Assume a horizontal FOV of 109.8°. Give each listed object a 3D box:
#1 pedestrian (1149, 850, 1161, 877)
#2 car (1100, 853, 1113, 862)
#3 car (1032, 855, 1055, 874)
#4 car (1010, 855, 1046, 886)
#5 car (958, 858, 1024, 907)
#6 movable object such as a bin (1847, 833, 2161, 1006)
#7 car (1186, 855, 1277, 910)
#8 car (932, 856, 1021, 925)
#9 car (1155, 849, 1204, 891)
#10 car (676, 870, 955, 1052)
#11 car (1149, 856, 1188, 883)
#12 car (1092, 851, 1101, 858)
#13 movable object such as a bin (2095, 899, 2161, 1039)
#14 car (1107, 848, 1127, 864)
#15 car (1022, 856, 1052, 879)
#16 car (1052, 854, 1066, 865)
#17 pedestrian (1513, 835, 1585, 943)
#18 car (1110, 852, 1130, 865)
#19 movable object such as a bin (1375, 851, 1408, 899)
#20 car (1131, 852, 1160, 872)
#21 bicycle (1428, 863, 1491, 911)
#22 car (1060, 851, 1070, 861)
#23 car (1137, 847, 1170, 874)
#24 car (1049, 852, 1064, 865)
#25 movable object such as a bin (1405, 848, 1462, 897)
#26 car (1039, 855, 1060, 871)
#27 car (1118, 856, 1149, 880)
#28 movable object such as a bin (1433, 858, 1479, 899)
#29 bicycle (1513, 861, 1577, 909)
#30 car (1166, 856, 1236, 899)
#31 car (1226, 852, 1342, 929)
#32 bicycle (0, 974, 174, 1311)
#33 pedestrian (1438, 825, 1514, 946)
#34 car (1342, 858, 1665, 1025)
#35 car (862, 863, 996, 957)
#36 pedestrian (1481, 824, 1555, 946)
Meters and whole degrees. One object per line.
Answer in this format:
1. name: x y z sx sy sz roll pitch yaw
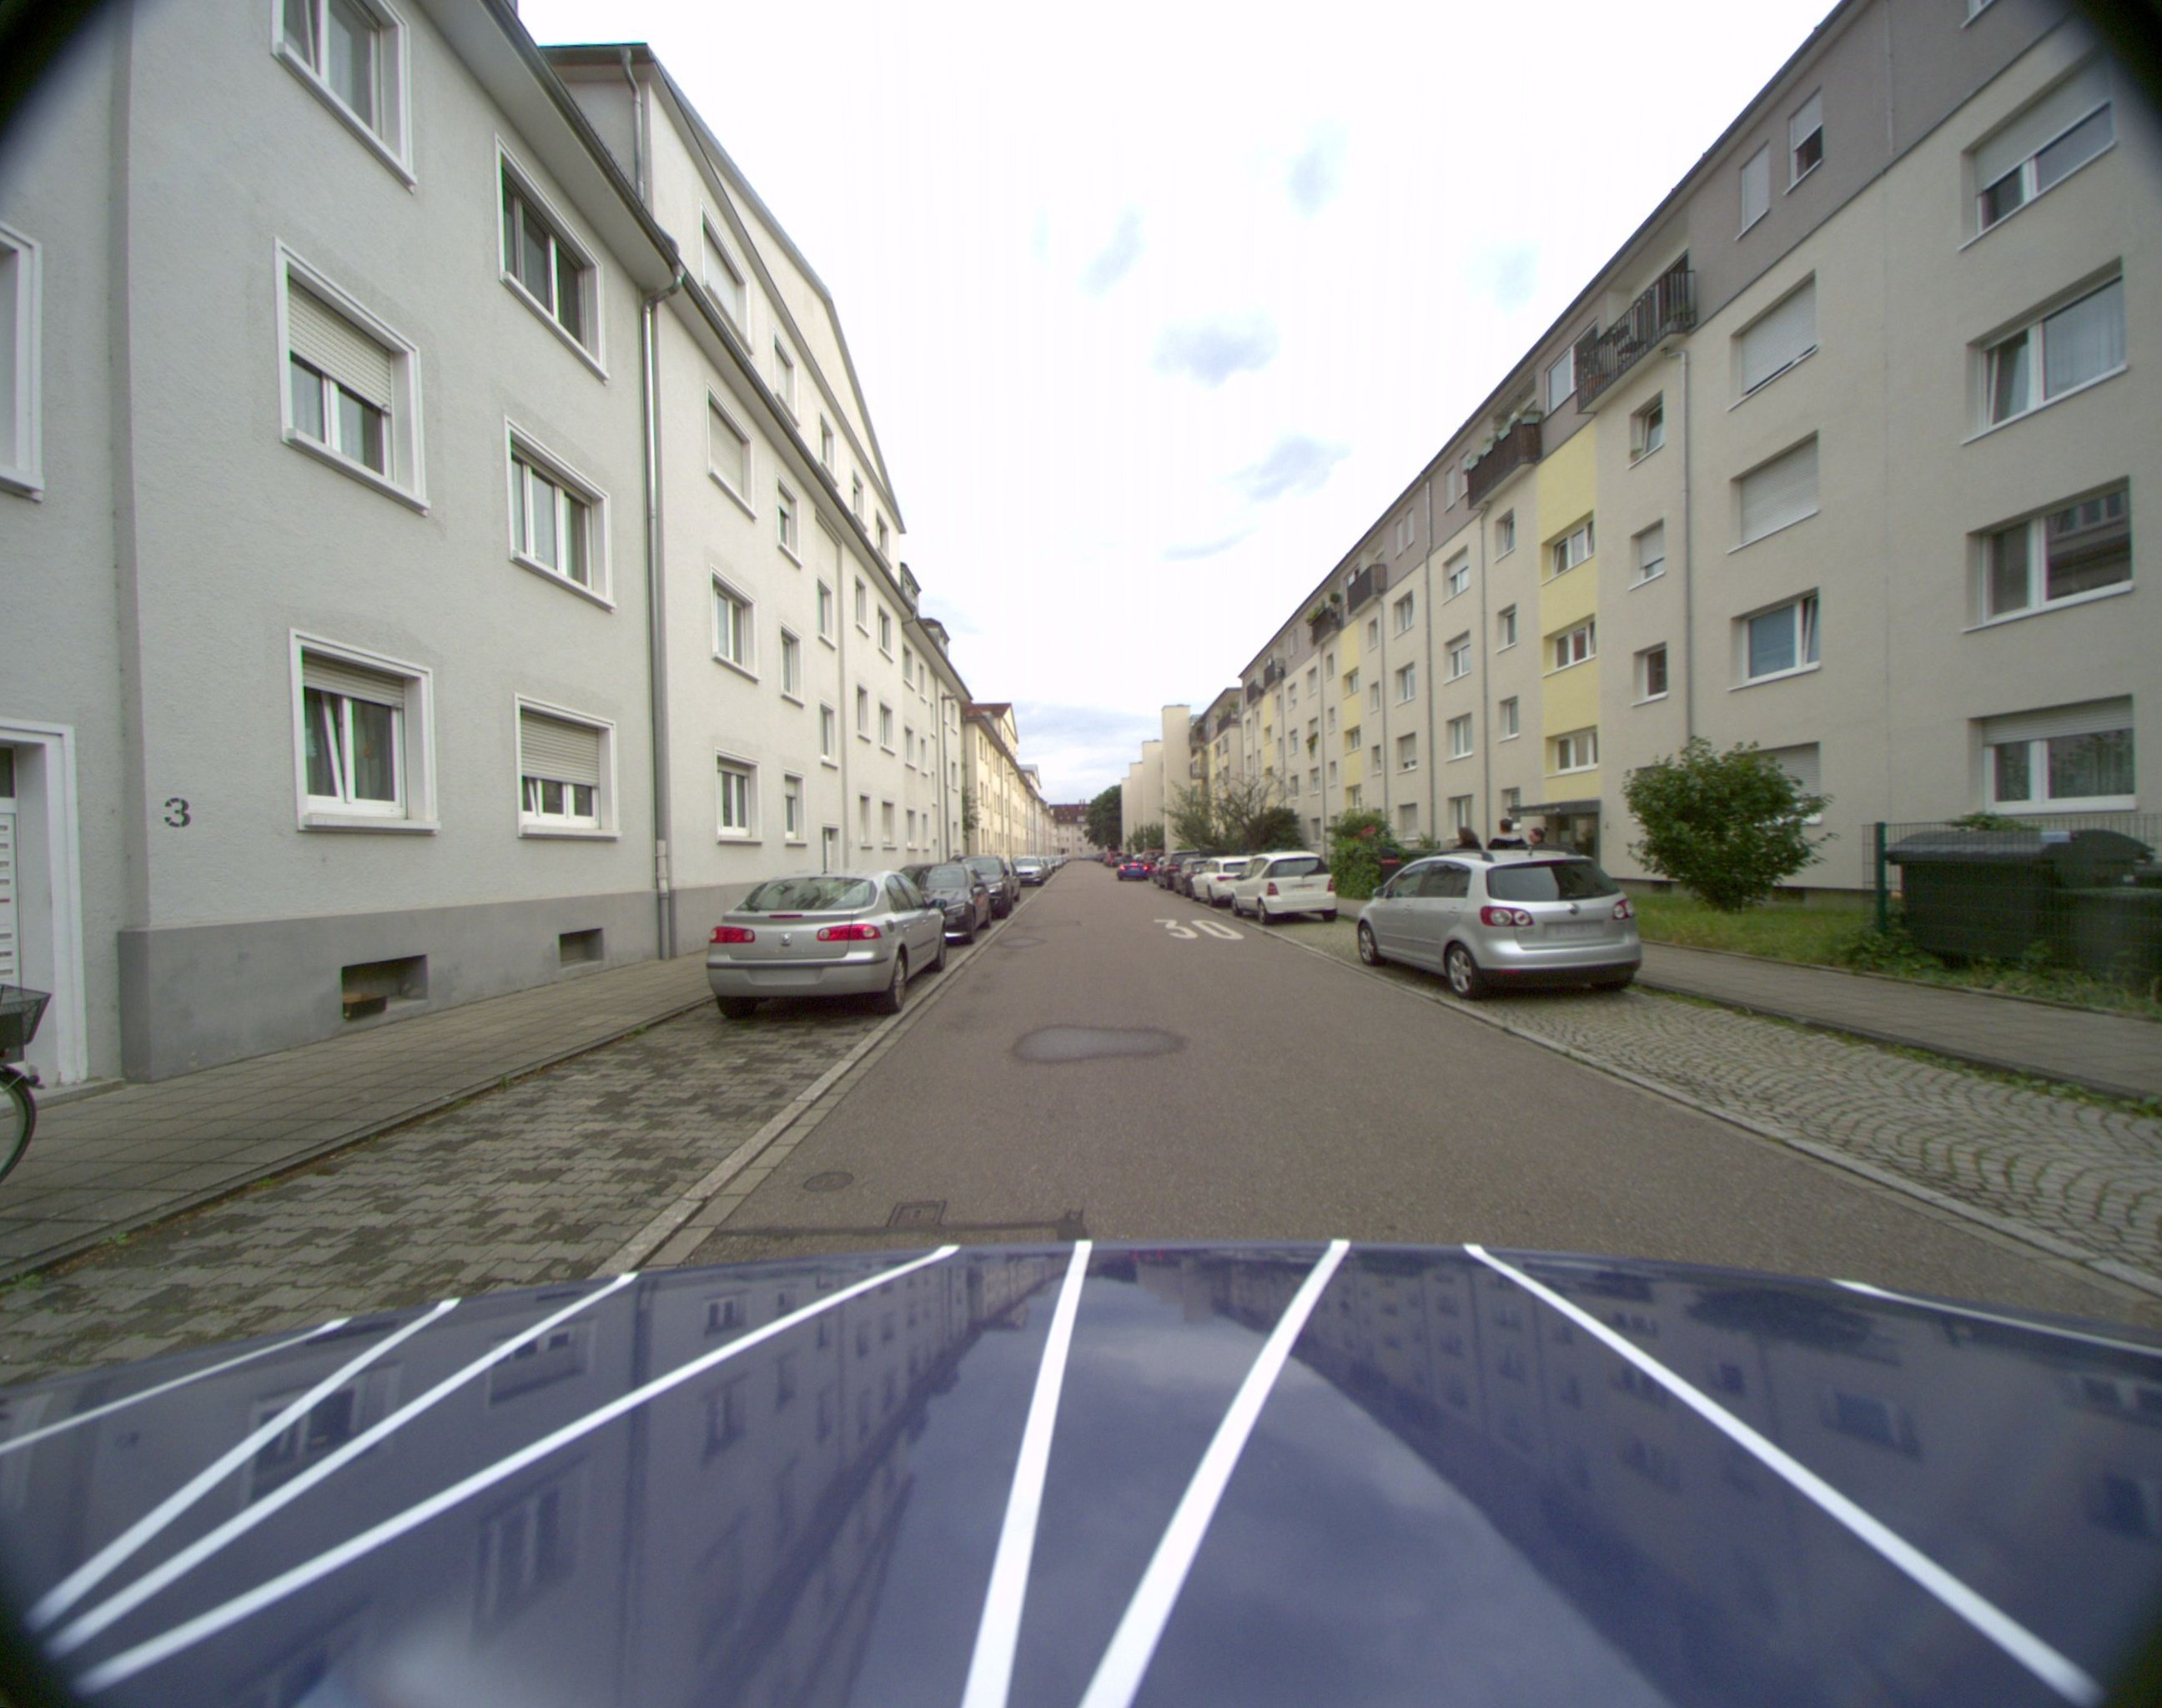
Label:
1. pedestrian: 4.633 0.585 47.574 0.603 1.657 0.622 -1 1 -3
2. car: 4.626 0.647 137.614 1.746 1.534 3.636 -1 0 -6
3. car: -2.949 0.808 61.040 1.737 1.402 4.217 -1 0 -2
4. car: -2.811 0.858 40.885 1.737 1.538 3.677 -1 1 -2
5. car: -2.892 0.876 25.105 1.737 1.478 3.756 -1 0 0
6. movable object such as a bin: 8.907 0.545 7.196 1.593 1.412 1.671 -2 0 -1
7. car: 4.579 0.825 23.828 1.723 1.501 4.686 -1 0 -3
8. car: -2.638 0.869 20.046 1.853 1.589 4.159 -1 0 -2
9. car: 4.472 0.721 35.039 1.575 1.769 4.452 -1 0 -1
10. car: -2.653 0.965 8.773 1.737 1.454 4.430 -1 0 -2
11. car: 4.782 0.843 41.851 1.575 1.389 3.541 -1 0 -3
12. car: 3.767 0.146 186.958 1.746 1.534 3.636 -2 0 -6
13. movable object such as a bin: 8.442 0.882 5.821 0.538 1.027 0.598 -1 0 -1
14. car: 4.624 0.307 98.793 2.188 2.019 4.422 -1 0 -3
15. car: -2.852 0.874 49.799 1.737 1.418 4.217 -1 0 -1
16. car: -2.790 0.681 97.721 1.737 1.443 4.217 -1 0 -2
17. pedestrian: 7.452 0.540 12.129 0.616 1.647 0.803 -1 0 0
18. car: 4.696 0.554 92.559 2.013 1.436 4.196 -1 0 -3
19. movable object such as a bin: 9.015 0.595 22.077 0.659 1.360 0.587 -2 2 -4
20. car: 4.932 0.603 58.593 1.707 1.436 3.541 -1 0 -3
21. bicycle: 8.693 0.729 17.538 0.489 1.018 1.878 -1 0 0
22. car: -2.695 0.365 126.747 1.737 1.670 3.591 -1 0 -2
23. car: 4.977 0.457 52.404 1.707 1.795 3.541 -1 0 -3
24. car: -2.807 0.524 87.928 1.737 1.443 4.217 -1 0 -2
25. movable object such as a bin: 10.468 0.532 22.595 1.059 1.367 1.188 -2 2 -5
26. car: -2.820 0.805 68.751 1.737 1.363 4.217 -1 0 -2
27. car: 3.233 0.832 47.056 1.680 1.307 3.907 -1 1 1
28. movable object such as a bin: 10.612 0.680 21.531 0.871 1.103 0.787 -2 2 -4
29. bicycle: 10.557 0.687 17.331 0.421 1.018 1.559 -1 0 -3
30. car: 4.485 0.820 29.011 1.730 1.445 4.481 -1 0 -3
31. car: 4.726 0.789 18.225 1.689 1.629 3.727 -1 0 -1
32. bicycle: -4.491 1.140 2.497 0.750 1.193 1.895 1 0 0
33. pedestrian: 6.384 0.490 12.321 0.642 1.853 0.974 -3 0 0
34. car: 4.738 0.845 9.251 1.658 1.541 3.915 -2 0 -1
35. car: -2.721 0.942 14.576 1.786 1.454 4.322 -1 0 -2
36. pedestrian: 6.854 0.474 11.949 0.708 1.843 0.763 -1 1 0
